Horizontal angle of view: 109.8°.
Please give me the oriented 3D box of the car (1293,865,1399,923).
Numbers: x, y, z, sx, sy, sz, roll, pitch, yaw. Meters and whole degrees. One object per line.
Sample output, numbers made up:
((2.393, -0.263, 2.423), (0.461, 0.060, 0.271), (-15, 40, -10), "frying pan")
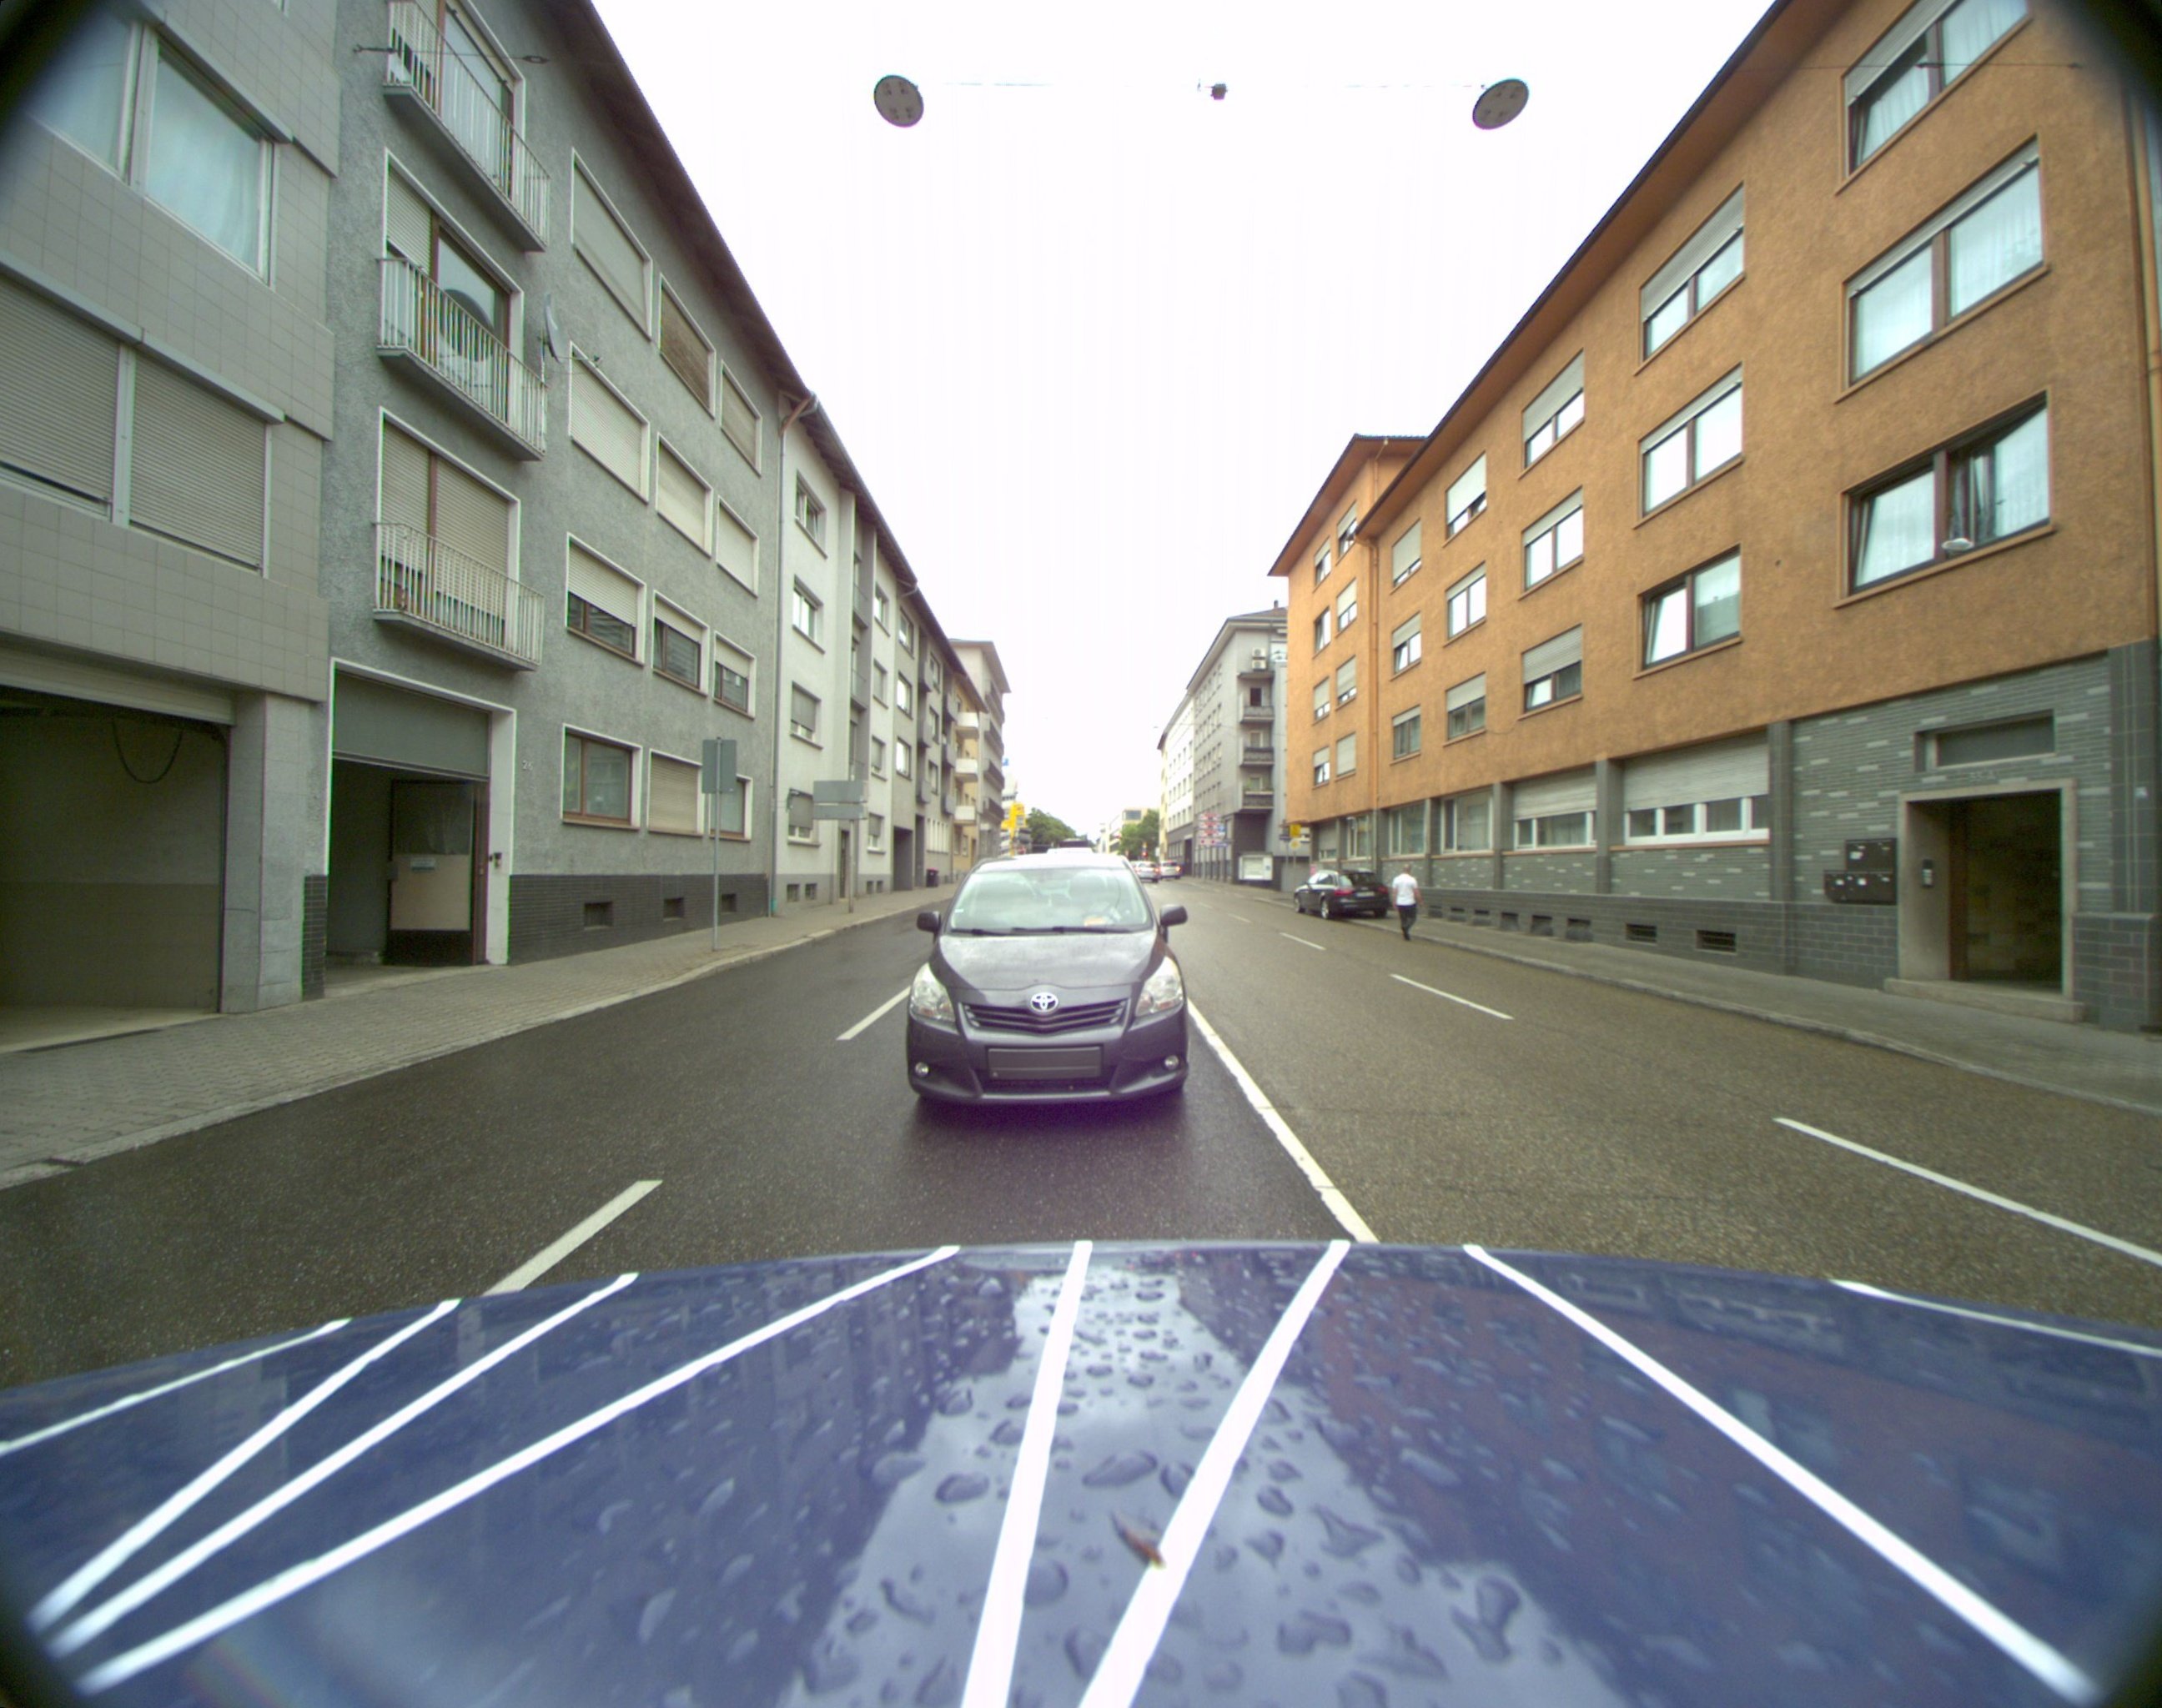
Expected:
((8.045, 1.152, 23.479), (1.799, 1.466, 4.217), (-2, 1, 1), "car")

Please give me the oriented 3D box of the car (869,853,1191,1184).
((-0.250, 0.906, 6.271), (1.699, 1.712, 4.217), (-2, 1, 1), "car")

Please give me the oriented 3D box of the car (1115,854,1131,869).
((5.357, 0.926, 97.383), (1.856, 1.712, 4.217), (-2, 1, 1), "car")

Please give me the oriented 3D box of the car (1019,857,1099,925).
((-0.503, 0.898, 20.114), (1.856, 1.524, 3.792), (-2, 1, 1), "car")

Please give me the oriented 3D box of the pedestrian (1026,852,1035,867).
((-6.314, 0.677, 94.591), (1.119, 1.741, 0.961), (1, 1, -5), "pedestrian")

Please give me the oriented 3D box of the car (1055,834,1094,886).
((-0.329, 0.303, 43.663), (2.033, 2.731, 4.368), (-2, 1, 1), "car")

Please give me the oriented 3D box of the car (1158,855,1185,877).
((7.819, 1.001, 65.771), (1.856, 1.712, 4.217), (-2, 1, 1), "car")

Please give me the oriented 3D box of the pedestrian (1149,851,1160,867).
((9.418, 0.591, 97.327), (1.309, 2.002, 1.258), (-2, 1, 1), "pedestrian")

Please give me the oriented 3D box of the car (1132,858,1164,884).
((4.818, 1.173, 55.160), (1.856, 1.651, 4.610), (-2, 1, 1), "car")

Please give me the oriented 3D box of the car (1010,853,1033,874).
((-5.128, 0.797, 65.905), (1.856, 1.663, 4.215), (-2, 1, -4), "car")

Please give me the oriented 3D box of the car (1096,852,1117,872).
((2.341, 0.703, 70.673), (1.856, 1.712, 4.217), (-2, 1, 1), "car")

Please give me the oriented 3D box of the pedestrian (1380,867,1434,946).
((7.142, 1.125, 16.623), (0.766, 1.630, 1.025), (-1, 1, 40), "pedestrian")

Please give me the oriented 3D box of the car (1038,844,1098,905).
((-0.394, 0.642, 26.620), (1.856, 1.882, 4.217), (-2, 1, 1), "car")
